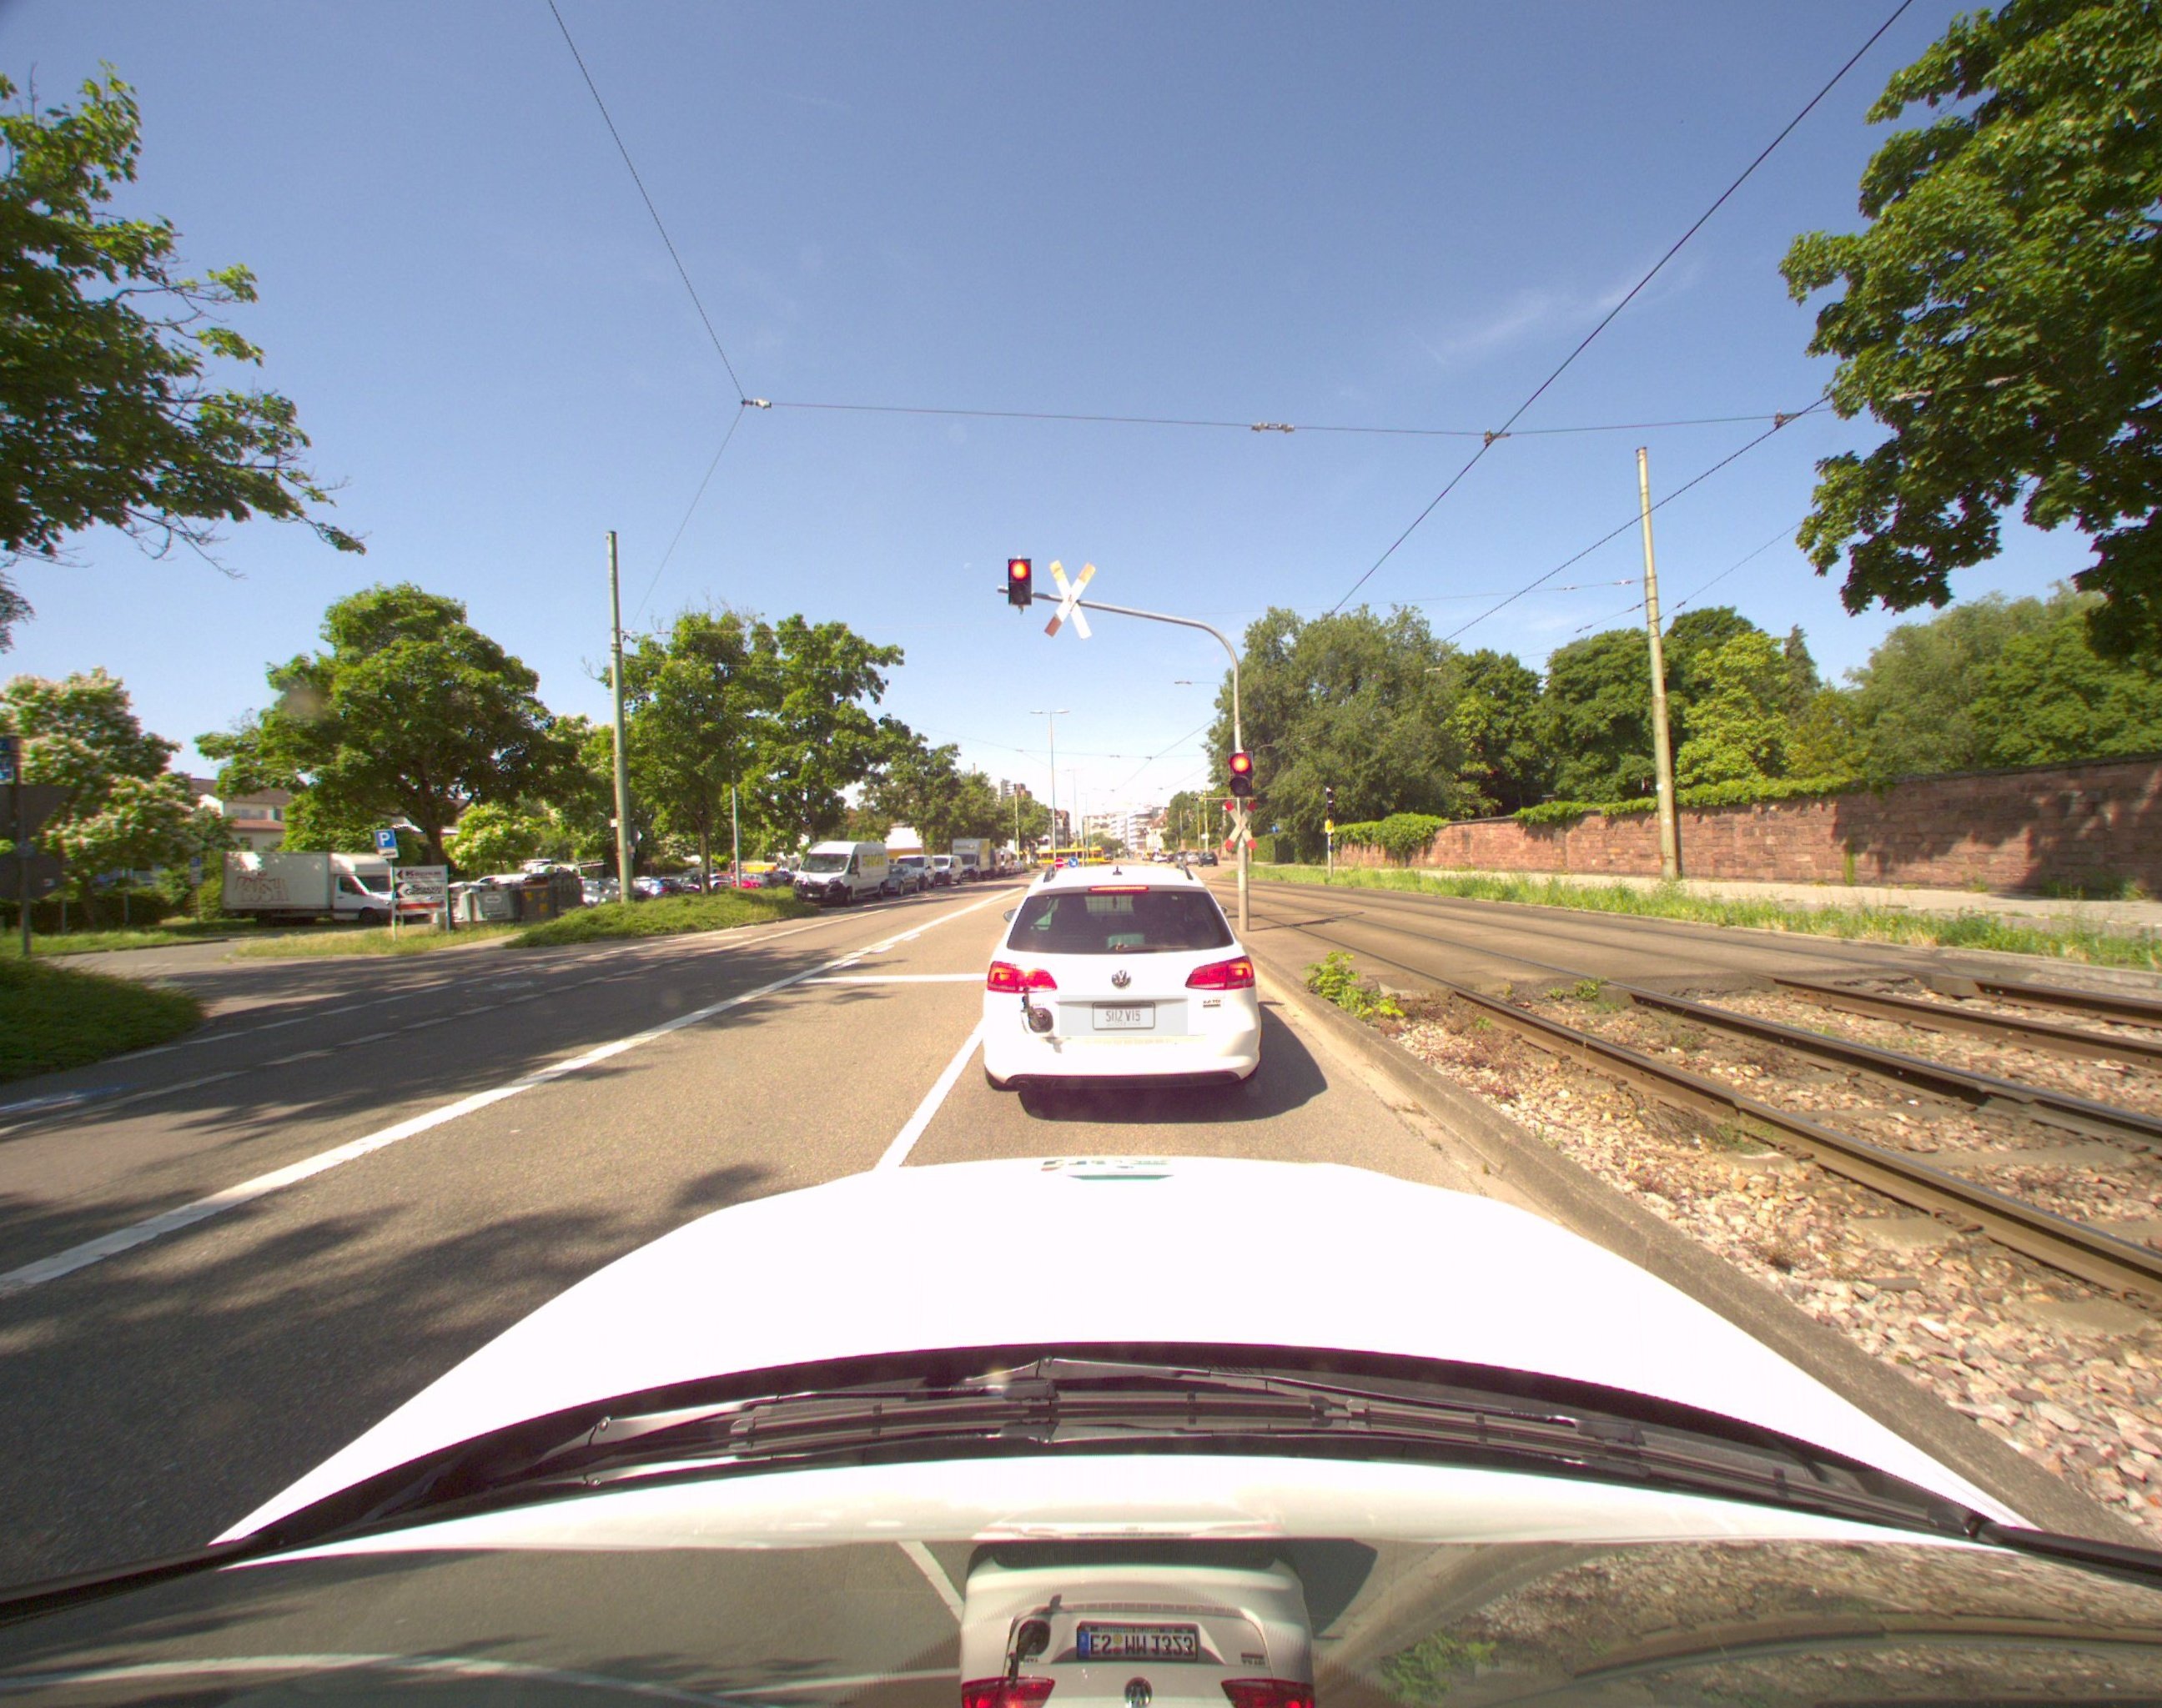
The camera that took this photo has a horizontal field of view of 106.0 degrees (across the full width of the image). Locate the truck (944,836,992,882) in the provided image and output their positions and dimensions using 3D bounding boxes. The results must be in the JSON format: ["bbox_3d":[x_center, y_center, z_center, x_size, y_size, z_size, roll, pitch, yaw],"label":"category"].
[{"bbox_3d":[-8.316,0.376,60.674,2.348,3.122,6.892,-3,0,1],"label":"truck"}]

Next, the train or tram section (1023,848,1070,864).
[{"bbox_3d":[-7.494,0.426,175.942,10.667,3.253,2.323,-1,-1,34],"label":"train or tram section"}]

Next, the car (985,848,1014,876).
[{"bbox_3d":[-7.575,0.709,76.281,1.836,2.494,5.860,-3,0,2],"label":"car"}]

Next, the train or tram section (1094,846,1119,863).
[{"bbox_3d":[4.877,0.186,160.571,2.303,3.253,11.226,0,-1,-12],"label":"train or tram section"}]

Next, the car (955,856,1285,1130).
[{"bbox_3d":[0.244,0.751,6.330,1.762,1.446,3.913,0,0,1],"label":"car"}]

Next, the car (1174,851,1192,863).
[{"bbox_3d":[13.203,0.376,105.299,1.855,1.513,3.913,0,0,0],"label":"car"}]

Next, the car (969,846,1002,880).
[{"bbox_3d":[-7.963,0.740,68.477,1.836,2.668,5.006,-3,0,2],"label":"car"}]

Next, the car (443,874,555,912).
[{"bbox_3d":[-32.205,2.127,45.191,4.683,2.014,1.997,0,-1,-4],"label":"car"}]

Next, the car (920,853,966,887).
[{"bbox_3d":[-8.791,0.967,52.309,1.836,1.960,5.137,-3,0,2],"label":"car"}]

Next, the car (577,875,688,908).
[{"bbox_3d":[-20.108,1.654,36.612,3.969,1.225,1.773,-3,0,4],"label":"car"}]

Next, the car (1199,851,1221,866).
[{"bbox_3d":[12.225,0.388,77.489,1.738,1.388,3.917,-1,0,4],"label":"car"}]

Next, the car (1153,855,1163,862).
[{"bbox_3d":[14.340,0.809,151.268,1.576,1.346,3.455,0,-1,1],"label":"car"}]

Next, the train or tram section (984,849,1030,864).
[{"bbox_3d":[-16.478,0.532,181.423,10.670,3.253,2.323,-1,-1,29],"label":"train or tram section"}]

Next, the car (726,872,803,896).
[{"bbox_3d":[-19.459,1.811,50.155,3.969,1.225,1.773,-3,0,4],"label":"car"}]

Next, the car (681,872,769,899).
[{"bbox_3d":[-19.571,1.730,44.858,3.969,1.264,1.773,-3,0,4],"label":"car"}]

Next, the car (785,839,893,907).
[{"bbox_3d":[-9.577,0.681,32.918,2.049,2.501,6.315,0,0,4],"label":"car"}]

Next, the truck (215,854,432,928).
[{"bbox_3d":[-32.397,1.540,35.019,7.119,3.019,2.231,0,0,-1],"label":"truck"}]

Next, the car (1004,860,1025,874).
[{"bbox_3d":[-7.437,1.482,91.709,1.837,1.433,4.039,-3,0,2],"label":"car"}]

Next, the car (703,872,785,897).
[{"bbox_3d":[-19.639,1.776,47.558,3.969,1.225,1.773,-3,0,4],"label":"car"}]

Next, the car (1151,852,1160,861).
[{"bbox_3d":[14.872,0.505,162.424,1.685,1.812,3.455,0,-1,1],"label":"car"}]

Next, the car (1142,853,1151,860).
[{"bbox_3d":[15.938,0.701,197.661,1.986,1.596,4.002,0,-1,2],"label":"car"}]

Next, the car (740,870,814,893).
[{"bbox_3d":[-19.542,1.765,52.421,3.969,1.225,1.773,-3,0,4],"label":"car"}]

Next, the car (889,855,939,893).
[{"bbox_3d":[-9.293,1.053,45.697,1.839,1.937,5.189,-3,0,-2],"label":"car"}]

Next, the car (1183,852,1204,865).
[{"bbox_3d":[12.618,0.480,91.586,1.855,1.416,4.325,0,0,0],"label":"car"}]

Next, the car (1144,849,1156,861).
[{"bbox_3d":[15.435,0.224,182.894,2.454,2.499,5.912,0,-1,1],"label":"car"}]

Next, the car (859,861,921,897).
[{"bbox_3d":[-9.078,1.167,39.053,1.837,1.516,4.199,-3,0,2],"label":"car"}]

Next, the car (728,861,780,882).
[{"bbox_3d":[-31.259,1.676,77.941,4.249,2.014,1.997,0,-1,-5],"label":"car"}]

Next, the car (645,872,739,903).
[{"bbox_3d":[-20.251,1.720,42.487,3.969,1.350,1.773,-3,0,4],"label":"car"}]

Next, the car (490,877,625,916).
[{"bbox_3d":[-20.096,1.600,31.360,3.974,1.225,1.771,-3,0,0],"label":"car"}]

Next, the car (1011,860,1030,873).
[{"bbox_3d":[-7.136,1.461,96.951,1.774,1.433,4.039,-3,0,2],"label":"car"}]

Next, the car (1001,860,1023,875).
[{"bbox_3d":[-7.267,1.395,85.805,1.837,1.433,4.039,-3,0,2],"label":"car"}]

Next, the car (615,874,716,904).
[{"bbox_3d":[-20.276,1.698,39.858,3.969,1.225,1.773,-3,0,4],"label":"car"}]

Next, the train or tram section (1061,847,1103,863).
[{"bbox_3d":[0.195,0.310,169.165,2.321,3.253,10.678,1,-1,-41],"label":"train or tram section"}]

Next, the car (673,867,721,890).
[{"bbox_3d":[-34.360,2.168,72.915,3.412,1.876,1.552,-3,0,-1],"label":"car"}]

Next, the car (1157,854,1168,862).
[{"bbox_3d":[13.771,0.650,137.801,1.576,1.346,3.455,0,-1,1],"label":"car"}]

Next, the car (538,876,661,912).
[{"bbox_3d":[-19.912,1.633,33.788,3.974,1.225,1.771,-3,0,0],"label":"car"}]

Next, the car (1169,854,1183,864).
[{"bbox_3d":[13.778,0.734,118.237,1.740,1.407,3.913,0,0,0],"label":"car"}]
